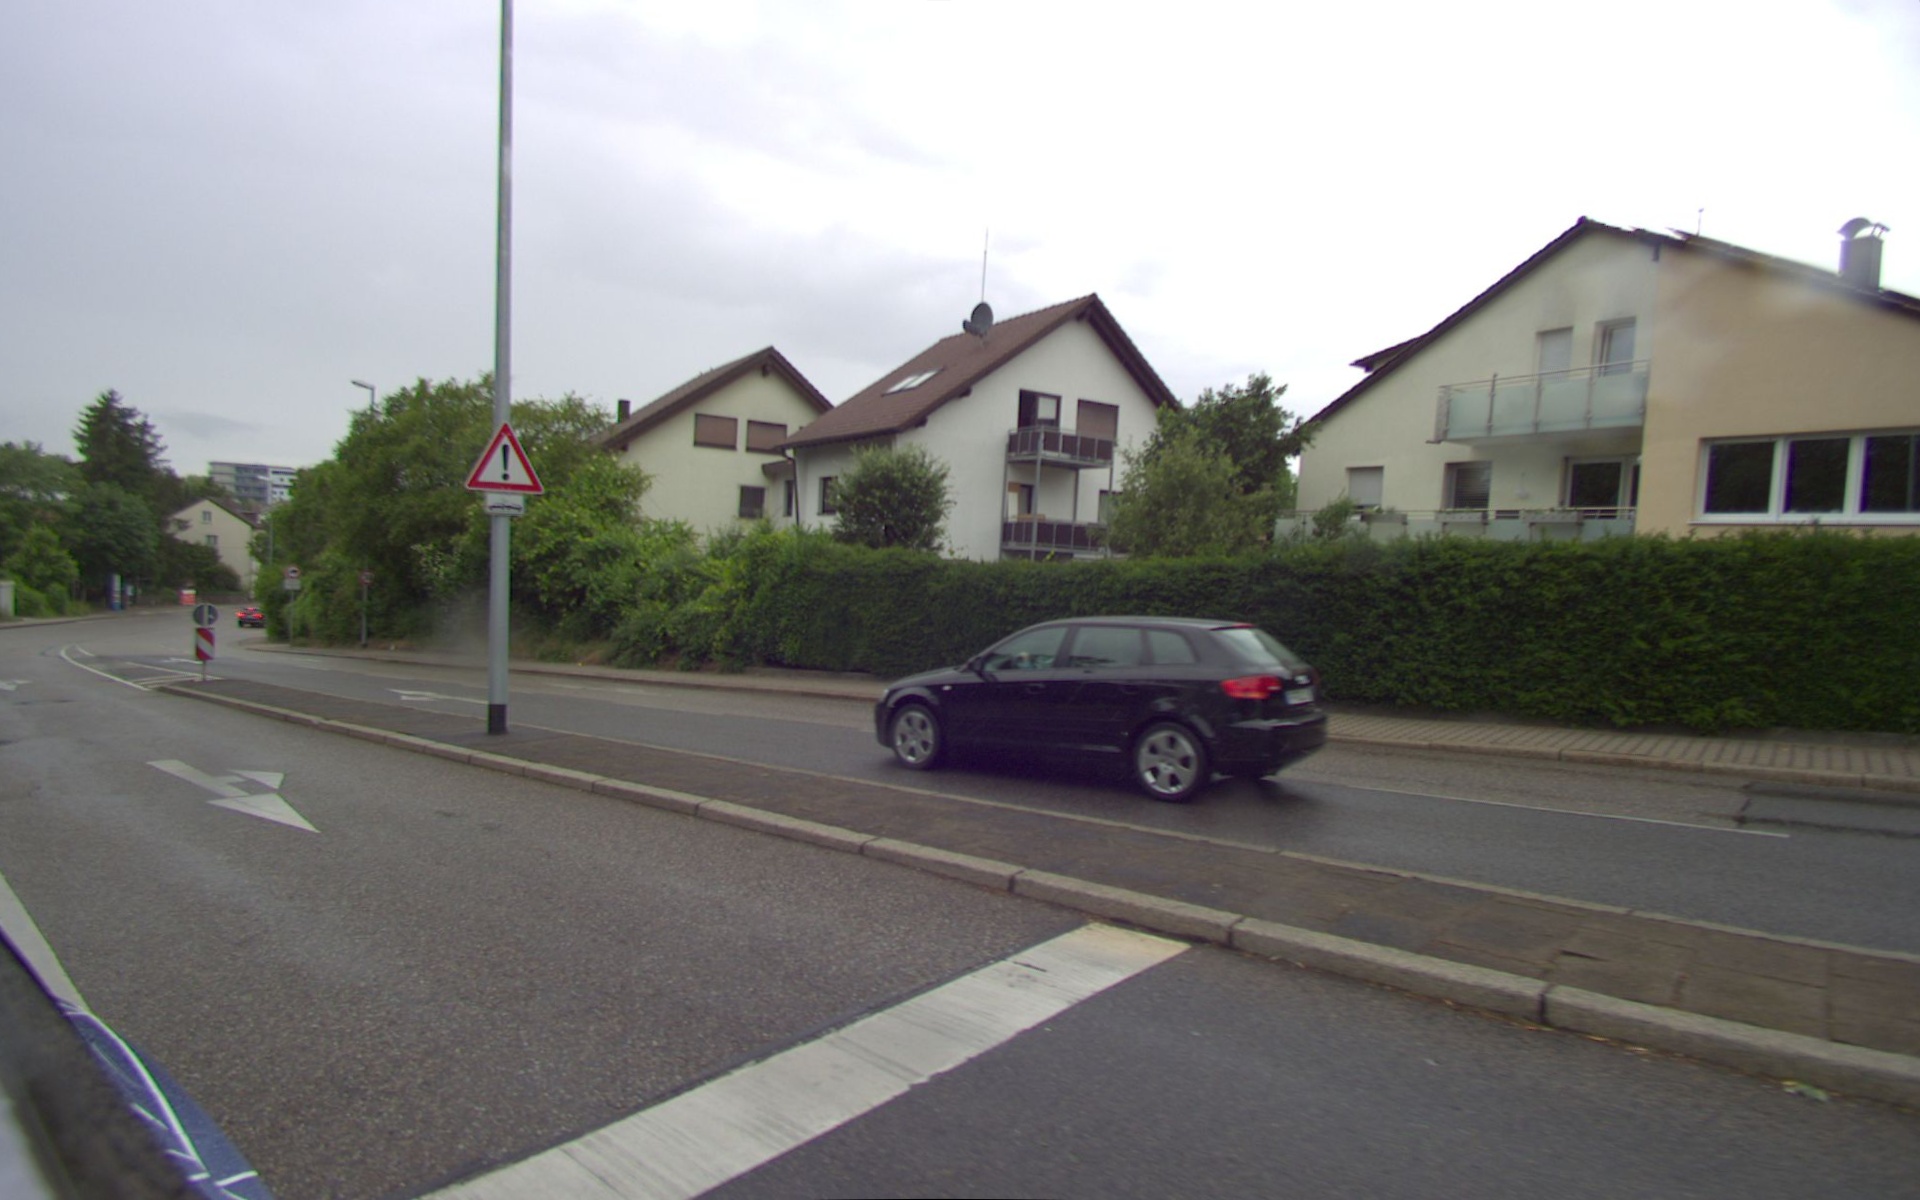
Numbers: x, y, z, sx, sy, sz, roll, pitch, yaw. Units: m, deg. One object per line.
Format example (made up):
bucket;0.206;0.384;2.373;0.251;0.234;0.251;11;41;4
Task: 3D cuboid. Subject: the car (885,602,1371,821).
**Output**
car;1.358;0.808;8.914;3.829;1.504;1.844;-1;-2;39

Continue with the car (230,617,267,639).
car;-63.177;2.526;89.915;1.928;1.860;4.013;3;-3;-24
